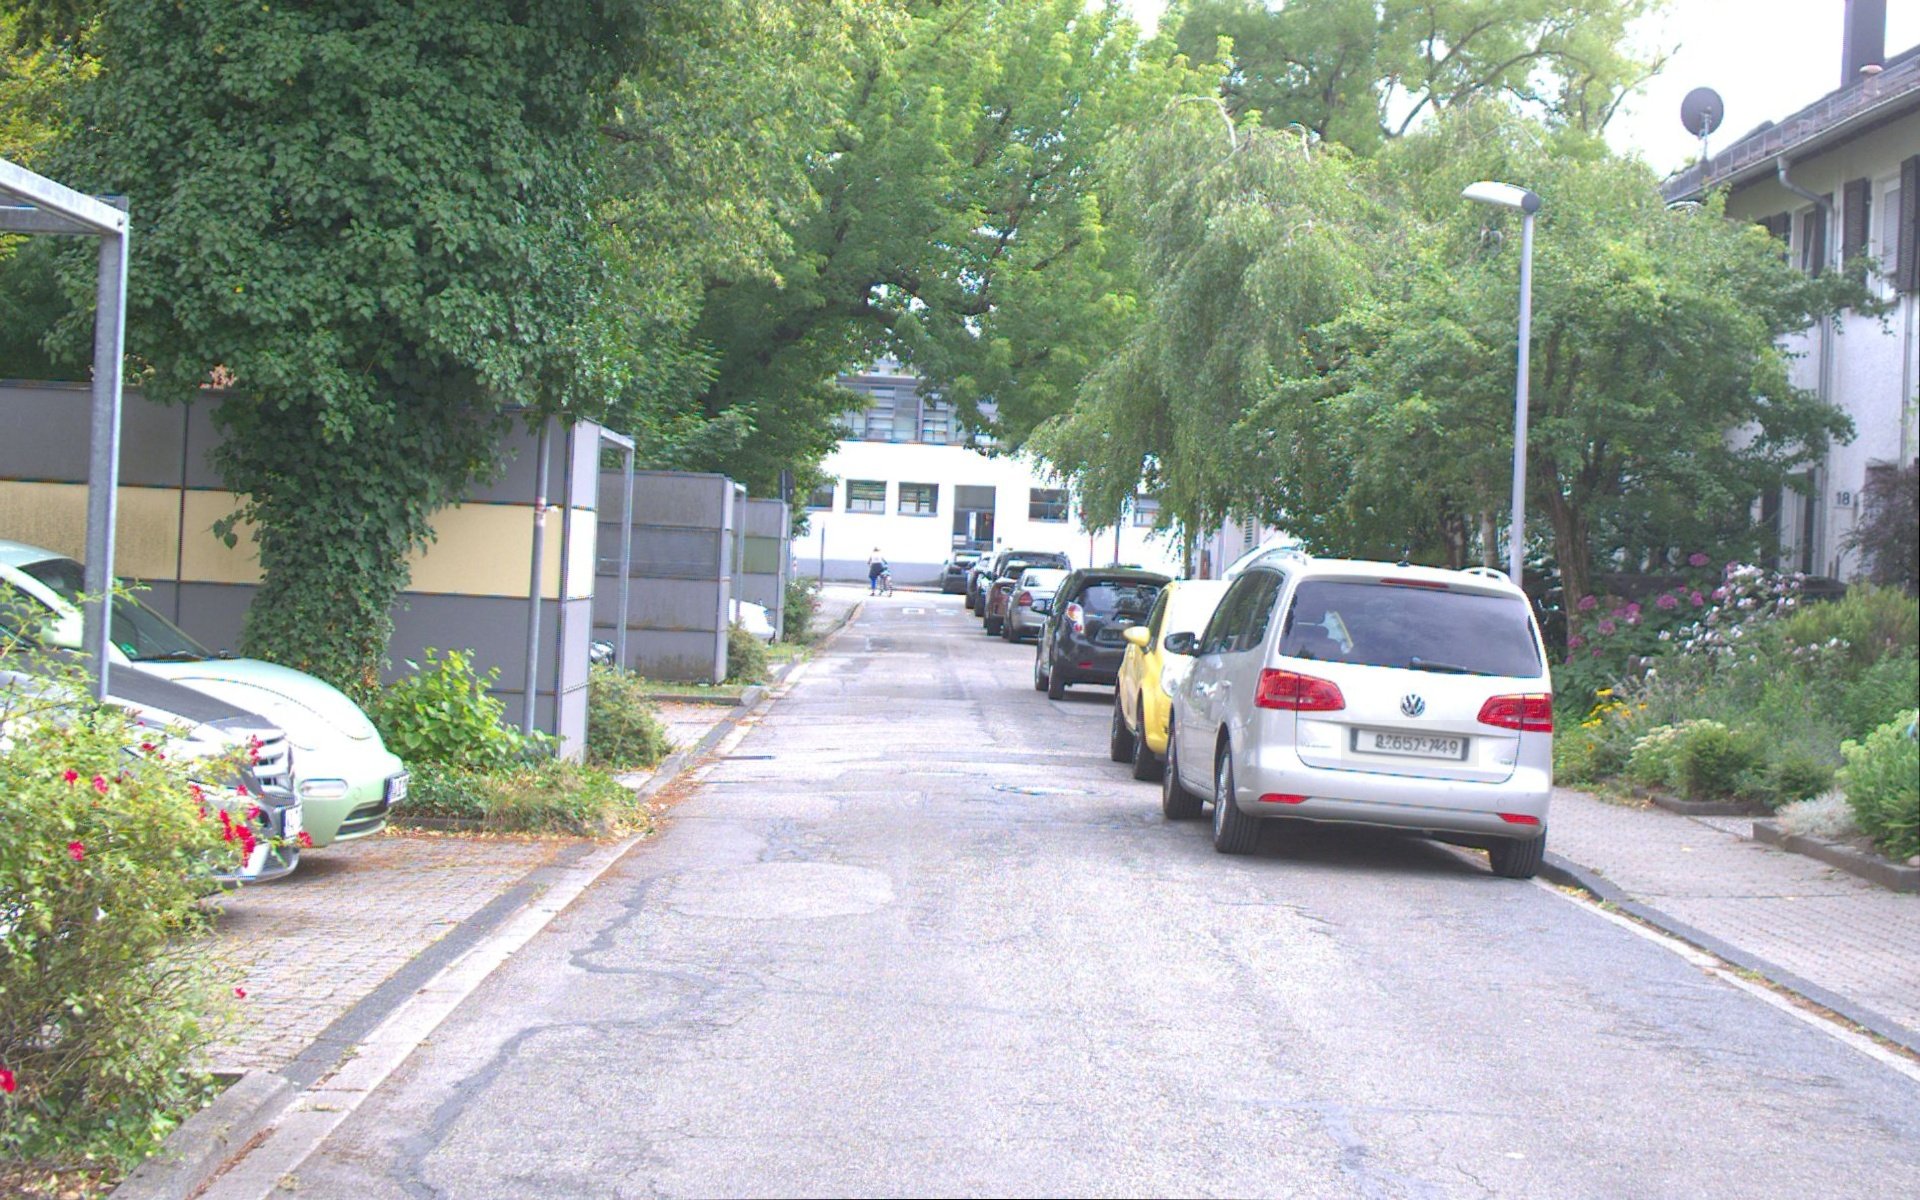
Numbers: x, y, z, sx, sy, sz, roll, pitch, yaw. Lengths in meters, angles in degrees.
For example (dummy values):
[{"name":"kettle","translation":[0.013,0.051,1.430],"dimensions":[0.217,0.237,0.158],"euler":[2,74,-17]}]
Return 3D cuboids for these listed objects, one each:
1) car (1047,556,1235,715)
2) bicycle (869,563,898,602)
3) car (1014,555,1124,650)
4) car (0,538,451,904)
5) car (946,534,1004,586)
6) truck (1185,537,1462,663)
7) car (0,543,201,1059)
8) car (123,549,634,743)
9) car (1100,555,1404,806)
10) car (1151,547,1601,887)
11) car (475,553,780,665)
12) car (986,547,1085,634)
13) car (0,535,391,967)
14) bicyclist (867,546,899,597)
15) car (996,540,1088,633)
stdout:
[{"name":"car","translation":[2.035,0.360,39.720],"dimensions":[1.825,1.576,4.193],"euler":[5,1,0]},{"name":"bicycle","translation":[-2.334,-0.540,104.899],"dimensions":[0.689,1.127,2.579],"euler":[4,1,2]},{"name":"car","translation":[2.015,0.016,64.742],"dimensions":[1.825,1.576,4.000],"euler":[5,1,0]},{"name":"car","translation":[-4.667,0.464,15.583],"dimensions":[4.412,1.497,1.841],"euler":[2,1,0]},{"name":"car","translation":[0.501,-1.376,117.193],"dimensions":[1.825,1.576,4.000],"euler":[5,1,0]},{"name":"truck","translation":[6.075,-0.012,57.887],"dimensions":[4.390,2.007,2.000],"euler":[1,1,-1]},{"name":"car","translation":[-4.571,0.505,10.708],"dimensions":[3.987,1.454,1.795],"euler":[2,1,0]},{"name":"car","translation":[-4.829,0.362,28.950],"dimensions":[3.987,1.459,1.738],"euler":[2,1,-1]},{"name":"car","translation":[2.110,0.534,25.892],"dimensions":[1.825,1.576,4.000],"euler":[5,1,0]},{"name":"car","translation":[2.232,0.567,19.526],"dimensions":[1.825,1.576,4.001],"euler":[5,1,-2]},{"name":"car","translation":[-4.556,0.117,47.544],"dimensions":[4.031,1.389,1.738],"euler":[2,1,-1]},{"name":"car","translation":[1.513,-0.221,70.472],"dimensions":[1.825,1.576,4.000],"euler":[5,1,0]},{"name":"car","translation":[-4.561,0.478,13.202],"dimensions":[4.412,1.497,1.841],"euler":[2,1,0]},{"name":"bicyclist","translation":[-2.350,-0.878,104.965],"dimensions":[0.798,1.506,0.934],"euler":[4,1,2]},{"name":"car","translation":[1.797,-0.330,76.555],"dimensions":[1.825,1.877,4.000],"euler":[5,1,0]}]
